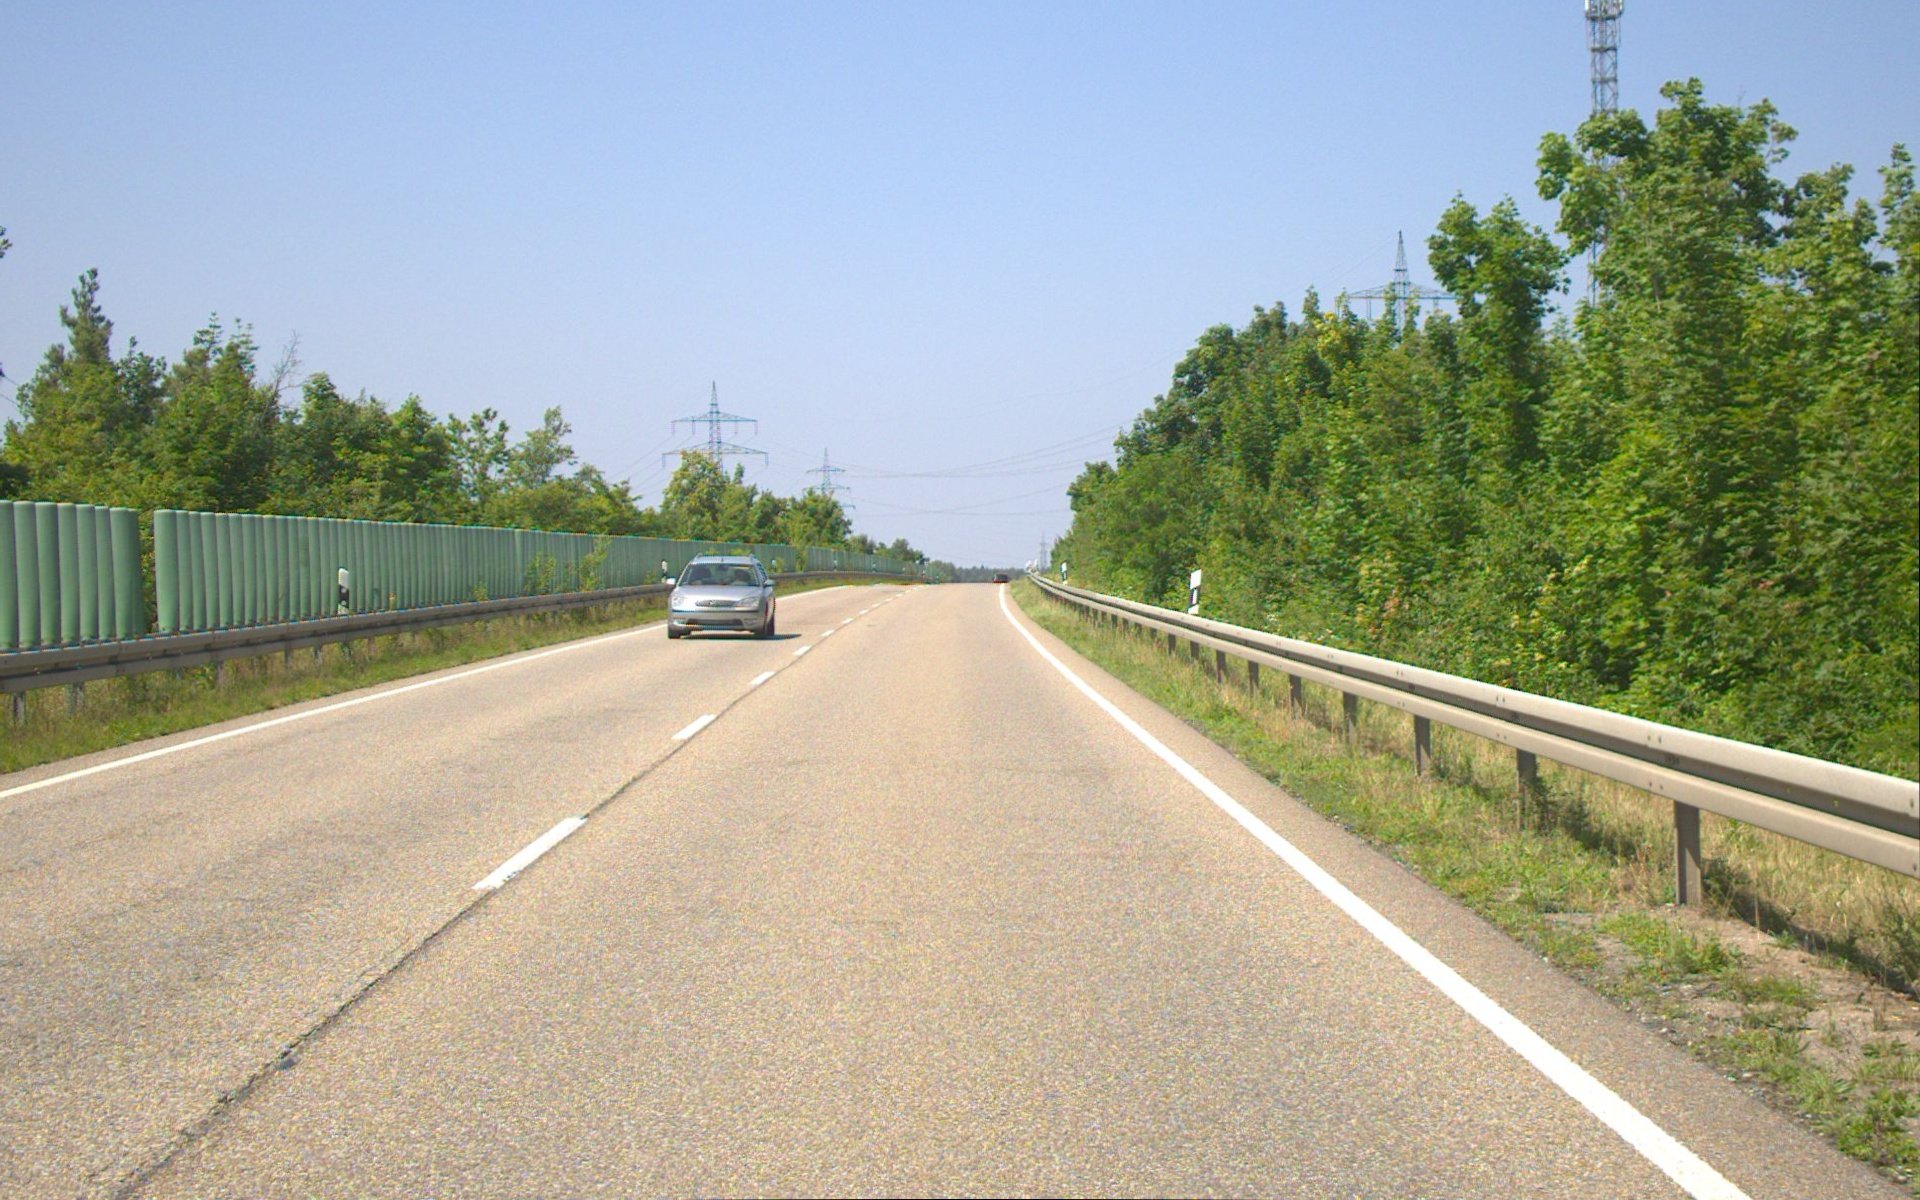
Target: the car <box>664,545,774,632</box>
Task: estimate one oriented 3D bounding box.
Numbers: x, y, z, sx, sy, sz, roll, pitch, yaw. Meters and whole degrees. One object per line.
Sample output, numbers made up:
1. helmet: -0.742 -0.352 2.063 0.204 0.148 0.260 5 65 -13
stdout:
1. car: -4.282 -0.238 61.523 1.720 1.496 4.248 0 1 -1
